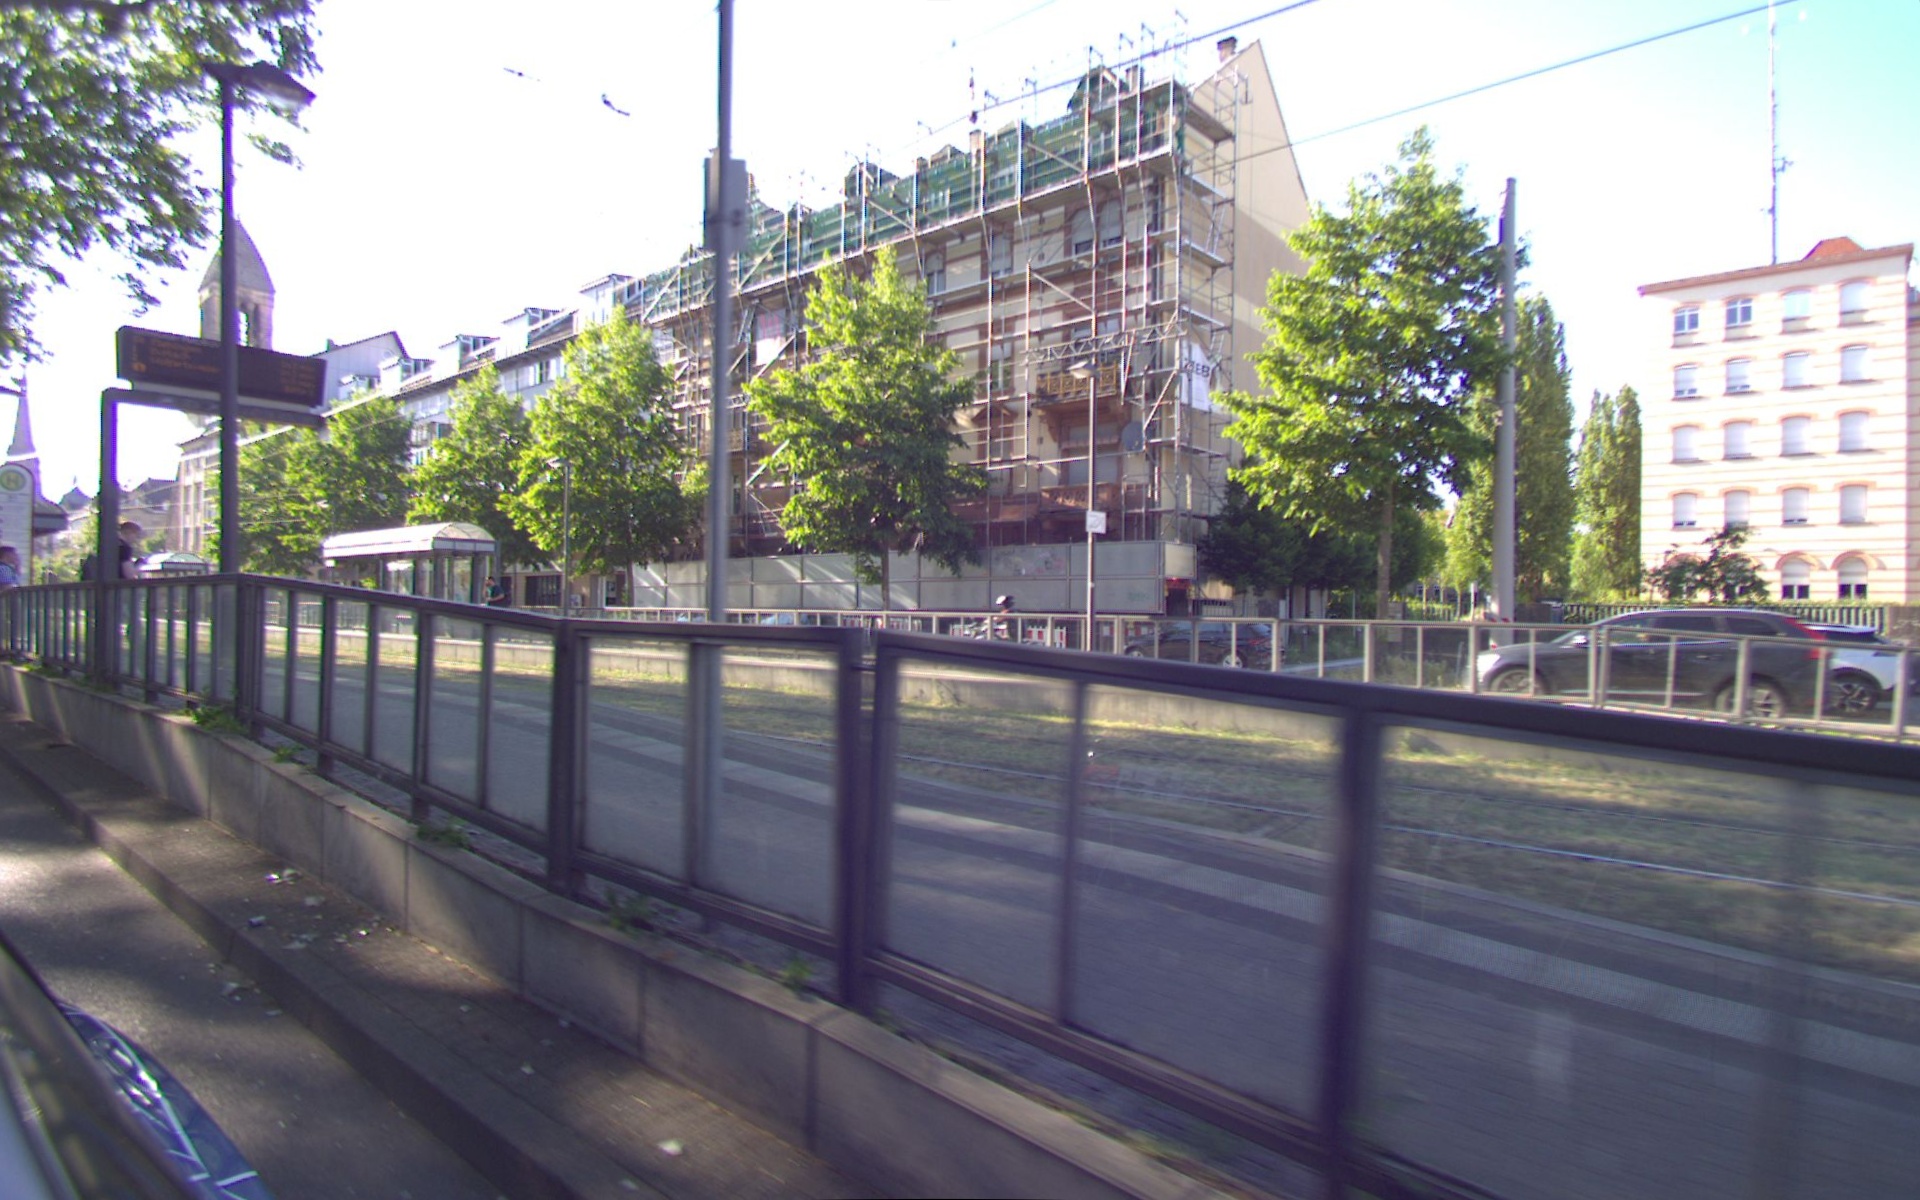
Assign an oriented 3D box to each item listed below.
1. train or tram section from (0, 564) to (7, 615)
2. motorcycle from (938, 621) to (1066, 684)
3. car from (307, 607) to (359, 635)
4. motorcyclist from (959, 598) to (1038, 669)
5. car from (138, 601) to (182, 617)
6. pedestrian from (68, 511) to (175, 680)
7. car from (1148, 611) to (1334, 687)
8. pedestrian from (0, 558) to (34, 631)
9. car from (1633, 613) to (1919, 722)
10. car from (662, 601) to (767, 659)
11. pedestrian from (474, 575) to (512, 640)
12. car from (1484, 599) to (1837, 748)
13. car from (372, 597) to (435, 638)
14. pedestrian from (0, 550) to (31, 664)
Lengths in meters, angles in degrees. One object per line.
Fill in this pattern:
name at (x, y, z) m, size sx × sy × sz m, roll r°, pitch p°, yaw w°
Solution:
train or tram section at (-75.797, -0.784, 77.374) m, size 14.553 × 3.713 × 2.840 m, roll 0°, pitch -1°, yaw 41°
motorcycle at (0.785, 0.974, 19.320) m, size 2.397 × 1.081 × 0.810 m, roll 0°, pitch 1°, yaw 36°
car at (-40.448, 1.330, 65.233) m, size 3.782 × 1.690 × 1.788 m, roll 0°, pitch 1°, yaw 41°
motorcyclist at (0.732, 0.614, 19.353) m, size 1.274 × 1.309 × 0.810 m, roll 0°, pitch 1°, yaw 36°
car at (-99.574, 1.100, 125.993) m, size 1.869 × 1.819 × 3.973 m, roll 0°, pitch 1°, yaw 41°
pedestrian at (-8.851, -0.051, 10.681) m, size 0.678 × 1.703 × 0.749 m, roll 0°, pitch 1°, yaw 41°
car at (6.793, 1.116, 24.711) m, size 4.067 × 1.598 × 1.702 m, roll 0°, pitch 1°, yaw 45°
pedestrian at (-23.026, -0.135, 24.348) m, size 0.624 × 1.735 × 0.909 m, roll 0°, pitch 1°, yaw 7°
car at (14.351, 1.082, 17.705) m, size 4.067 × 1.598 × 1.702 m, roll 0°, pitch 1°, yaw 45°
car at (-9.382, 1.069, 38.508) m, size 4.000 × 2.029 × 1.972 m, roll 0°, pitch 1°, yaw 42°
pedestrian at (-12.331, 0.188, 26.717) m, size 0.654 × 1.703 × 0.672 m, roll 0°, pitch 1°, yaw 39°
car at (10.077, 0.920, 14.720) m, size 4.027 × 1.819 × 1.844 m, roll 0°, pitch 1°, yaw 43°
car at (-31.706, 0.957, 57.667) m, size 3.782 × 2.182 × 1.921 m, roll 0°, pitch 1°, yaw 40°
pedestrian at (-14.647, 0.104, 15.373) m, size 0.894 × 1.703 × 0.672 m, roll 0°, pitch 1°, yaw 41°
